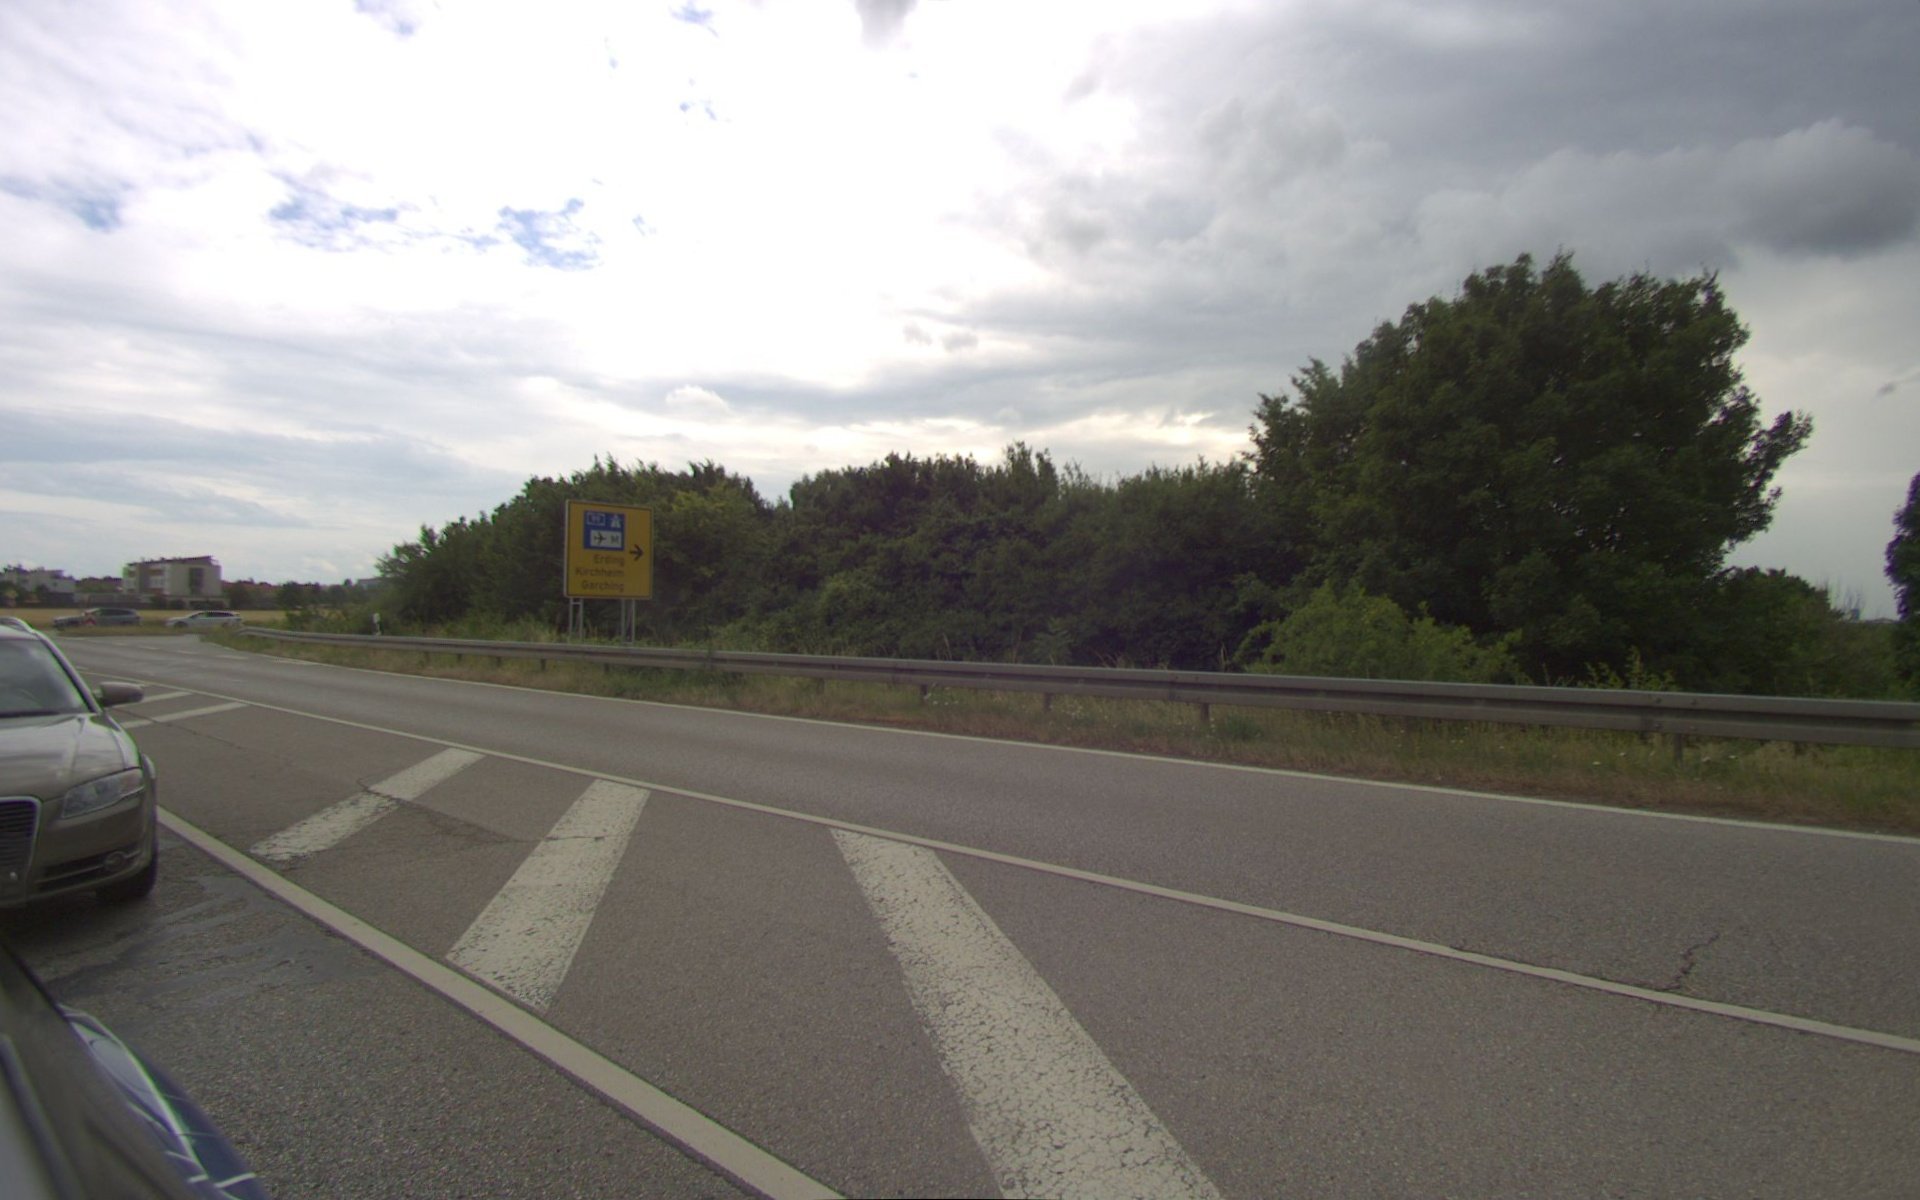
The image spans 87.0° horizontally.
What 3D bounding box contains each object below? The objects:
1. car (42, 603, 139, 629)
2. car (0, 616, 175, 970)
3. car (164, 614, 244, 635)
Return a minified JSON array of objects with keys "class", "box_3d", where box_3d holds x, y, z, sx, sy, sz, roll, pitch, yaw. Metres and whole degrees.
[{"class":"car","box_3d":[-59.282,1.092,69.061,1.997,1.702,4.757,-1,-1,37]},{"class":"car","box_3d":[-5.709,0.813,5.341,4.202,1.455,1.708,-1,-1,41]},{"class":"car","box_3d":[-55.075,1.760,73.789,4.605,1.510,2.004,0,-1,-39]}]
